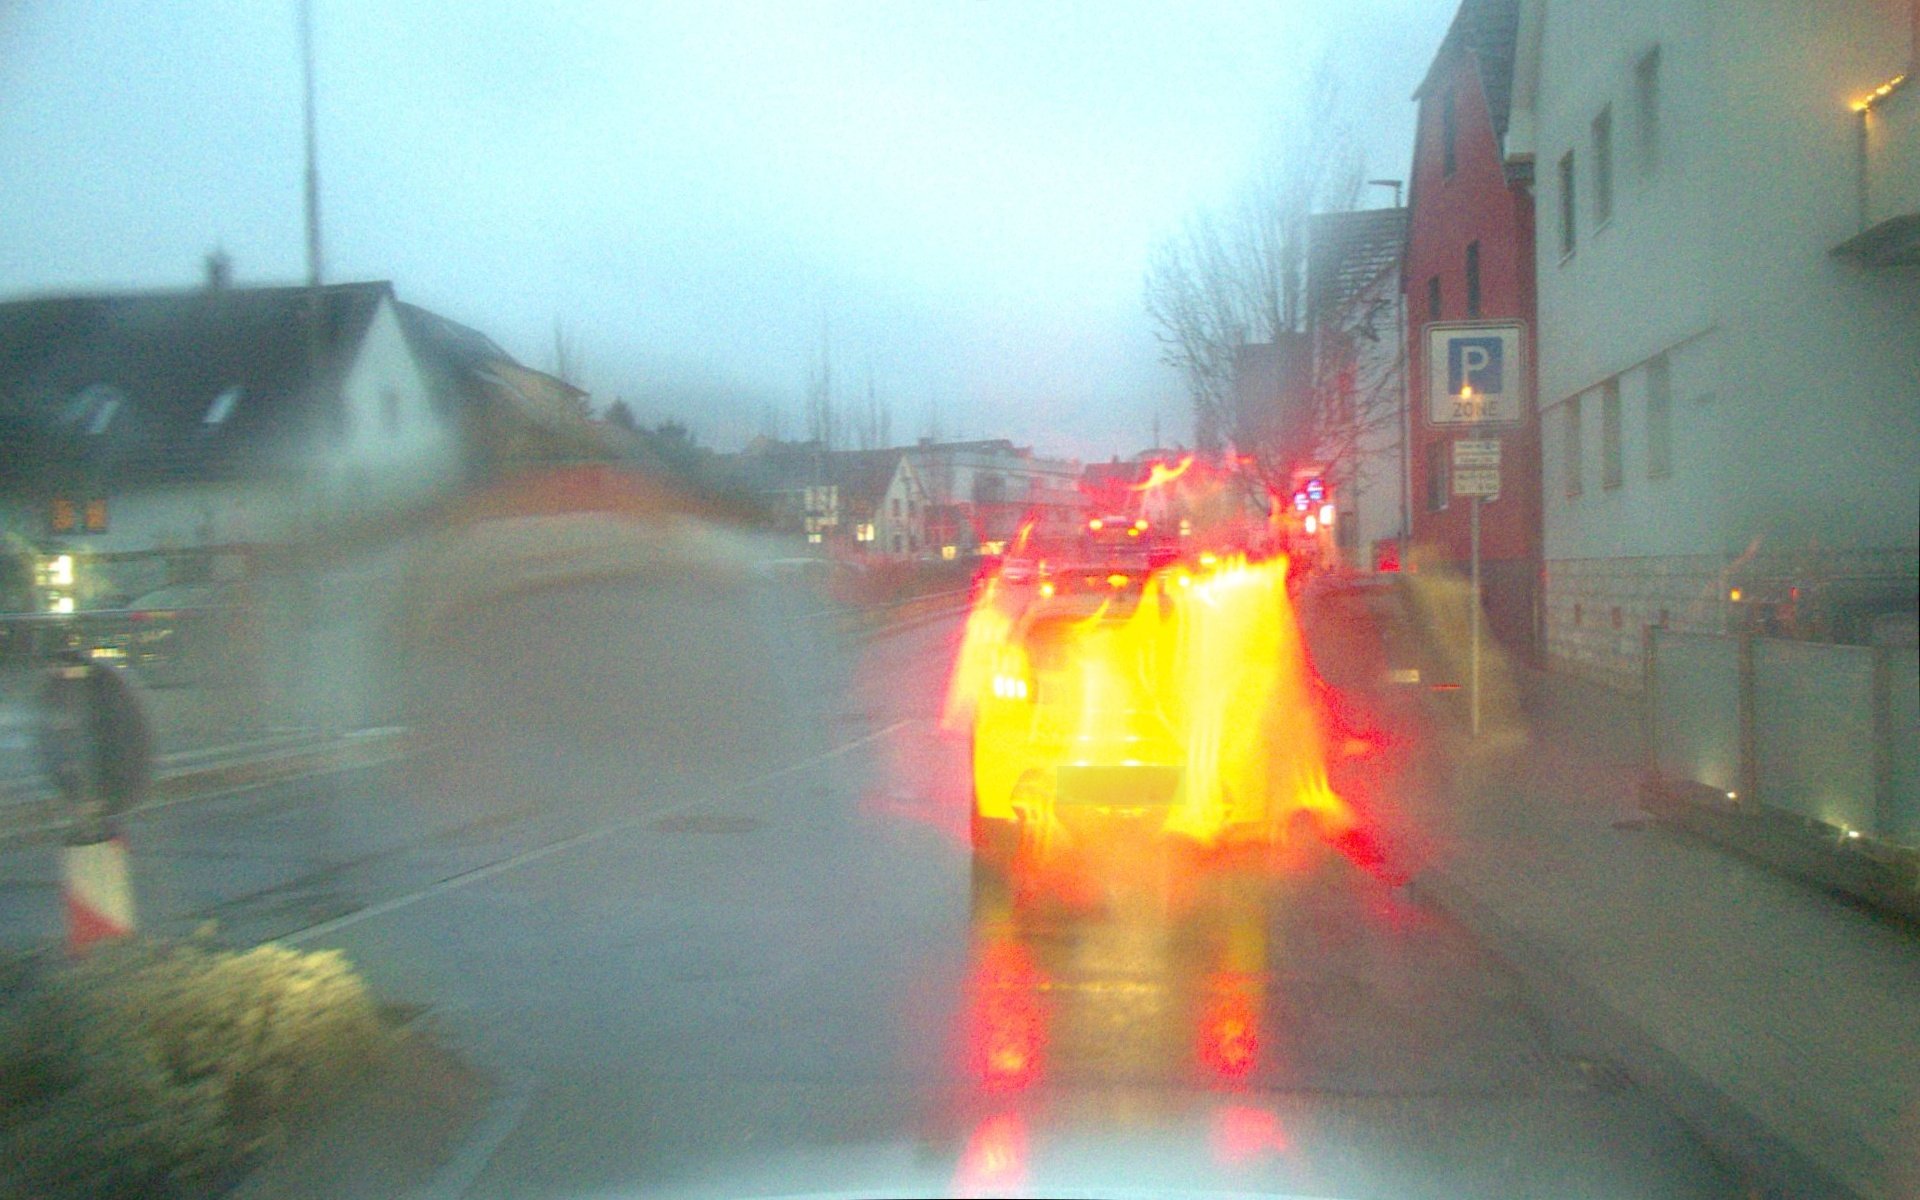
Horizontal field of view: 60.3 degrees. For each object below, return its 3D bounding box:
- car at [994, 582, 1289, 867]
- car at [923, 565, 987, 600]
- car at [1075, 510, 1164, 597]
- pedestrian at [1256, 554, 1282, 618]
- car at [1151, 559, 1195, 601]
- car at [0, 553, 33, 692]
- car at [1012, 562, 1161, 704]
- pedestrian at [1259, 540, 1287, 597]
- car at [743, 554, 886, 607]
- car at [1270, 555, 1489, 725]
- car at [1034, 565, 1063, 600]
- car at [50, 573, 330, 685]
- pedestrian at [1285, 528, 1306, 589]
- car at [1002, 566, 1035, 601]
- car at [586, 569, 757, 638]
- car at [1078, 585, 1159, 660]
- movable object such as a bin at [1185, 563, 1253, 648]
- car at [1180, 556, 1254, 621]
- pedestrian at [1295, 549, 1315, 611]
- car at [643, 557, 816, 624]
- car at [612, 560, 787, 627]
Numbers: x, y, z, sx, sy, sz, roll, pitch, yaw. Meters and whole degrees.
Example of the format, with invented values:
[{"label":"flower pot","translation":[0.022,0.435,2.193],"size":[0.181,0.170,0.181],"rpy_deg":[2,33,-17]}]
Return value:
[{"label":"car","translation":[1.082,0.635,10.199],"size":[1.530,1.437,3.020],"rpy_deg":[0,1,5]},{"label":"car","translation":[-0.348,-1.127,109.305],"size":[1.982,2.204,4.321],"rpy_deg":[1,-1,-40]},{"label":"car","translation":[6.130,-1.739,64.408],"size":[3.124,3.084,6.307],"rpy_deg":[0,-1,3]},{"label":"pedestrian","translation":[8.450,-0.379,45.267],"size":[0.561,1.729,0.653],"rpy_deg":[-3,0,7]},{"label":"car","translation":[10.096,-0.949,78.722],"size":[1.955,1.897,4.086],"rpy_deg":[0,1,5]},{"label":"car","translation":[-13.179,0.403,19.044],"size":[1.717,1.730,4.569],"rpy_deg":[-4,1,11]},{"label":"car","translation":[1.641,0.344,21.240],"size":[1.729,1.656,3.588],"rpy_deg":[0,1,5]},{"label":"pedestrian","translation":[9.952,-1.001,52.562],"size":[0.697,1.744,1.035],"rpy_deg":[-2,1,19]},{"label":"car","translation":[-4.837,-0.655,55.461],"size":[4.529,1.696,2.001],"rpy_deg":[0,0,3]},{"label":"car","translation":[4.341,0.323,17.686],"size":[1.692,1.489,4.203],"rpy_deg":[-4,1,7]},{"label":"car","translation":[5.860,-1.145,109.878],"size":[1.879,2.254,3.977],"rpy_deg":[0,-1,3]},{"label":"car","translation":[-11.966,0.389,26.087],"size":[1.764,1.508,4.575],"rpy_deg":[-3,0,7]},{"label":"pedestrian","translation":[9.494,-1.165,46.797],"size":[0.518,1.682,0.954],"rpy_deg":[0,-1,15]},{"label":"car","translation":[3.631,-1.010,102.145],"size":[1.879,2.063,3.977],"rpy_deg":[0,-1,3]},{"label":"car","translation":[-6.335,0.067,36.519],"size":[3.372,1.396,1.602],"rpy_deg":[-1,1,4]},{"label":"car","translation":[3.124,0.409,32.787],"size":[1.508,1.354,3.314],"rpy_deg":[0,1,5]},{"label":"movable object such as a bin","translation":[4.778,0.089,30.605],"size":[1.105,1.445,1.419],"rpy_deg":[-4,1,7]},{"label":"car","translation":[7.207,-0.348,46.767],"size":[1.699,1.721,4.389],"rpy_deg":[-1,1,4]},{"label":"pedestrian","translation":[10.191,-0.588,48.894],"size":[0.518,1.832,0.865],"rpy_deg":[0,0,15]},{"label":"car","translation":[-5.758,-0.245,41.554],"size":[4.006,1.636,1.588],"rpy_deg":[0,0,8]},{"label":"car","translation":[-6.152,-0.160,39.210],"size":[3.712,1.549,1.716],"rpy_deg":[0,0,12]}]
